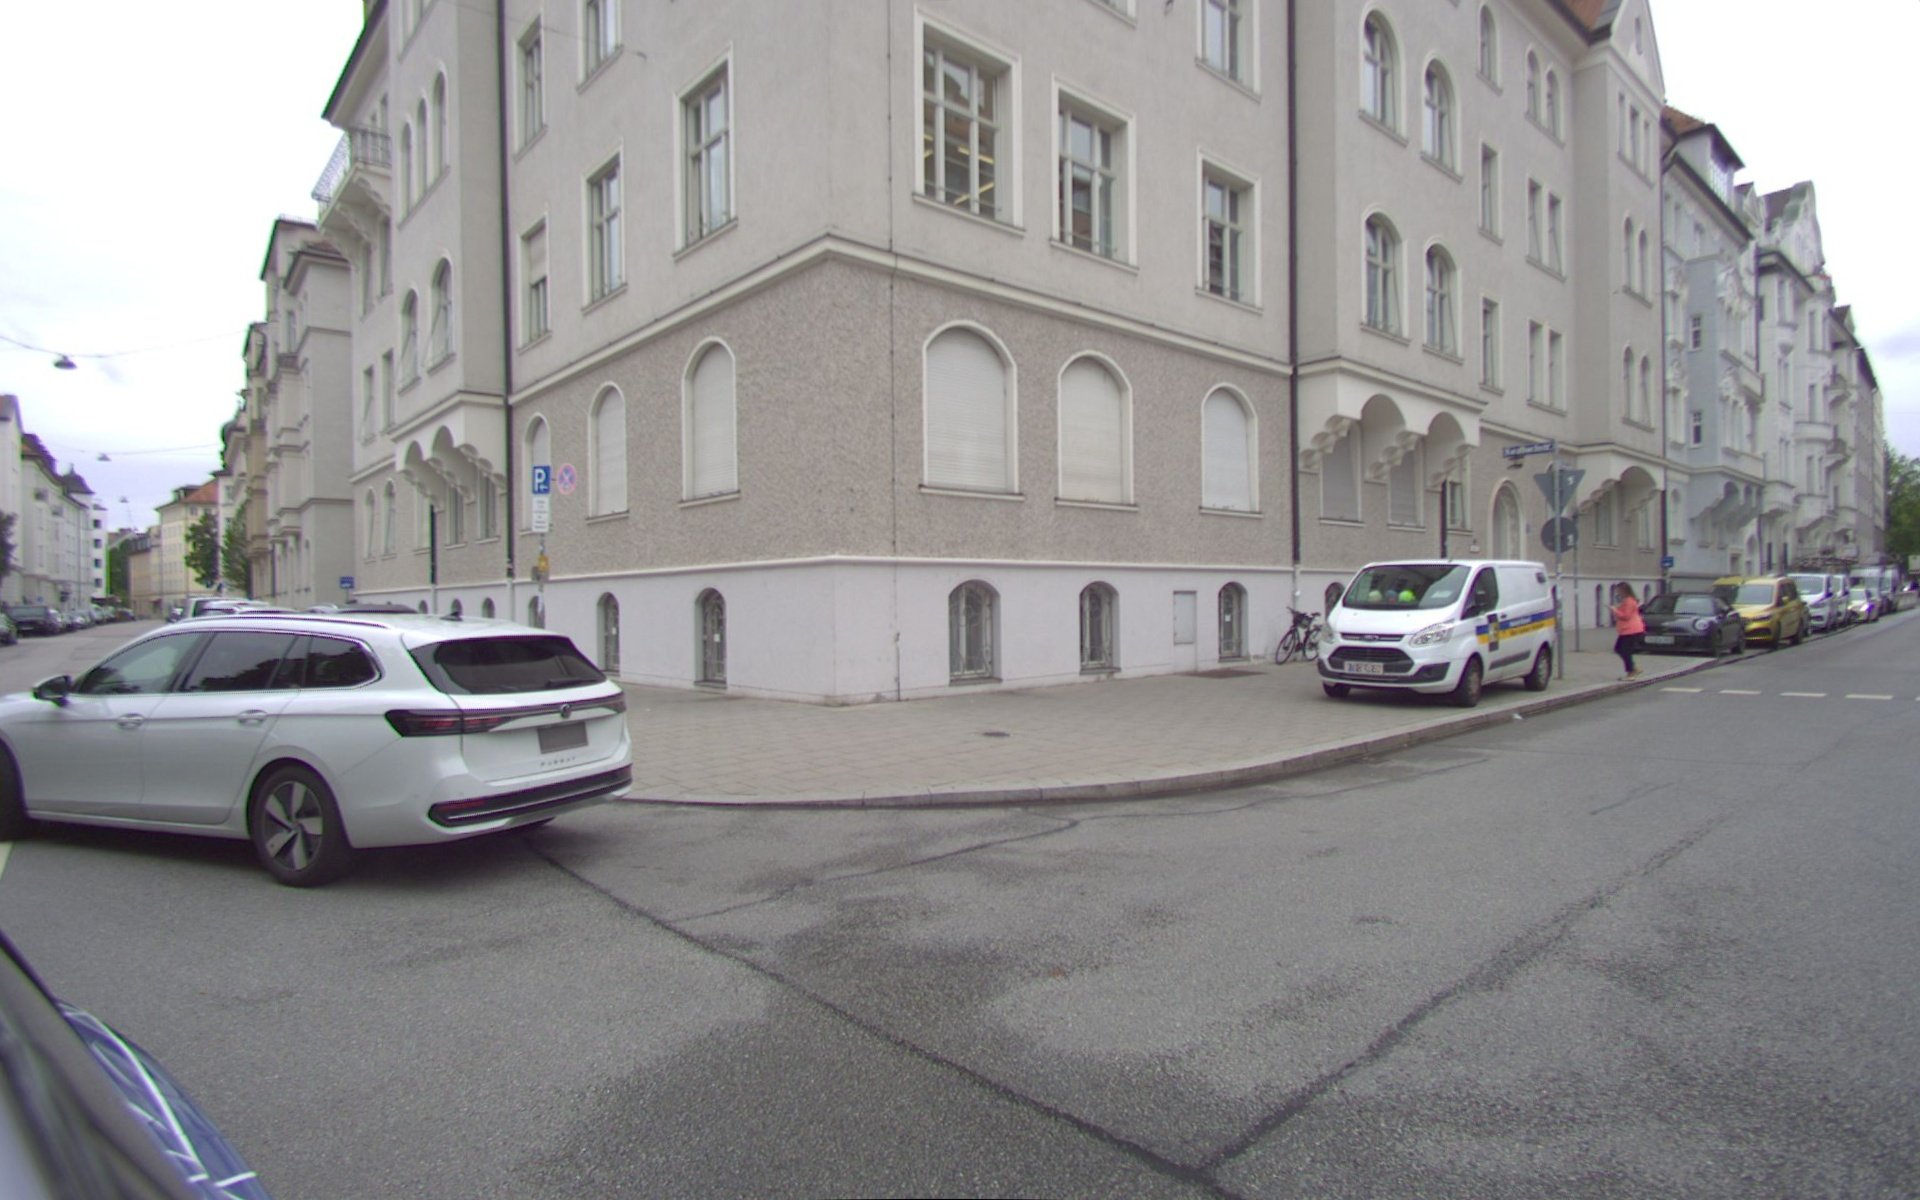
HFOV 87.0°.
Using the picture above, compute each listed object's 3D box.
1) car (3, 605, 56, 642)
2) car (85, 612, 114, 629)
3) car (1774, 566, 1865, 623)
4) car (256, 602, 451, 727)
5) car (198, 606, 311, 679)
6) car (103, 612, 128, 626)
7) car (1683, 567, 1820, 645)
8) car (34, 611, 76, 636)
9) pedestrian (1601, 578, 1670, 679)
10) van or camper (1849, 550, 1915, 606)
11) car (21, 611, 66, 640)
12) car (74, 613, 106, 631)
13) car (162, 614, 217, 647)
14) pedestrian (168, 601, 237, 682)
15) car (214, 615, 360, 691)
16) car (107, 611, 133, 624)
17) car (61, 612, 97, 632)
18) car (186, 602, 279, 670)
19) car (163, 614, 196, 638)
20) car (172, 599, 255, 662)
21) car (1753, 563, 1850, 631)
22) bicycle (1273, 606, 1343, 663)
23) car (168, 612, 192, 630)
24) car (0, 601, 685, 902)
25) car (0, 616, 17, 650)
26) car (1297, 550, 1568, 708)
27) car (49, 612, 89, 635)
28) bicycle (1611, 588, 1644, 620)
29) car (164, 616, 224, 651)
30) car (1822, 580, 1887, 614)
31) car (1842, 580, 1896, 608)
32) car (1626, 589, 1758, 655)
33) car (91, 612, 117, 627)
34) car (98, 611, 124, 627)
[{"bbox_3d":[-54.734,1.366,59.581,1.969,1.975,4.440,-5,2,-40],"label":"car"},{"bbox_3d":[-93.144,2.208,109.603,1.968,1.606,4.308,-5,2,-37],"label":"car"},{"bbox_3d":[32.553,-0.214,38.277,4.750,2.009,2.126,-1,0,-44],"label":"car"},{"bbox_3d":[-9.272,0.860,15.305,1.725,1.614,4.502,1,-1,-42],"label":"car"},{"bbox_3d":[-17.177,0.968,24.546,1.725,1.614,4.502,1,-1,-42],"label":"car"},{"bbox_3d":[-105.092,2.335,125.921,1.968,1.606,4.438,-5,2,-35],"label":"car"},{"bbox_3d":[20.547,0.126,26.227,4.071,1.852,2.030,-1,0,-40],"label":"car"},{"bbox_3d":[-63.992,1.670,71.600,1.969,1.606,4.306,-5,2,-40],"label":"car"},{"bbox_3d":[11.324,0.461,16.992,0.851,1.648,0.727,-1,0,26],"label":"pedestrian"},{"bbox_3d":[50.386,-1.218,55.250,6.338,2.935,2.003,-2,1,-41],"label":"van or camper"},{"bbox_3d":[-61.118,1.698,67.535,1.969,1.664,4.455,-5,2,-40],"label":"car"},{"bbox_3d":[-86.743,2.166,100.958,1.968,1.606,4.308,-5,2,-37],"label":"car"},{"bbox_3d":[-36.675,1.430,48.127,1.833,1.474,4.386,1,-1,-40],"label":"car"},{"bbox_3d":[-17.173,0.919,22.967,0.862,1.769,0.966,-1,0,-9],"label":"pedestrian"},{"bbox_3d":[-14.039,1.028,21.057,3.662,1.425,1.674,-1,-1,42],"label":"car"},{"bbox_3d":[-107.836,2.234,129.981,1.967,1.606,4.310,-5,2,-33],"label":"car"},{"bbox_3d":[-78.172,1.965,89.876,1.968,1.606,4.308,-5,2,-37],"label":"car"},{"bbox_3d":[-20.909,0.972,29.004,1.725,1.802,5.044,1,-1,-41],"label":"car"},{"bbox_3d":[-49.704,1.631,64.468,1.601,1.440,3.950,1,-1,-37],"label":"car"},{"bbox_3d":[-24.881,0.973,33.656,1.833,1.953,4.965,1,-1,-41],"label":"car"},{"bbox_3d":[28.310,-0.098,33.996,2.125,2.107,4.753,-1,0,44],"label":"car"},{"bbox_3d":[7.003,0.675,20.343,1.802,1.057,0.492,-1,0,-42],"label":"bicycle"},{"bbox_3d":[-68.013,1.778,88.242,1.602,1.542,3.696,1,-1,-39],"label":"car"},{"bbox_3d":[-4.433,0.791,6.679,4.853,1.459,1.879,-1,0,19],"label":"car"},{"bbox_3d":[-43.730,1.475,45.505,1.691,1.464,4.963,-1,0,-40],"label":"car"},{"bbox_3d":[6.922,0.314,14.541,4.838,1.895,1.927,-1,0,-44],"label":"car"},{"bbox_3d":[-71.491,1.895,81.265,1.968,1.606,4.308,-5,2,-37],"label":"car"},{"bbox_3d":[23.077,0.135,34.980,1.802,1.057,0.492,-1,0,-42],"label":"bicycle"},{"bbox_3d":[-33.475,1.423,44.197,1.833,1.423,4.386,1,-2,-40],"label":"car"},{"bbox_3d":[36.973,-0.117,41.801,3.485,1.356,1.699,-1,0,-43],"label":"car"},{"bbox_3d":[45.741,-0.315,50.904,3.485,1.356,1.699,-1,0,-42],"label":"car"},{"bbox_3d":[16.490,0.445,22.754,3.623,1.356,1.699,-1,0,-42],"label":"car"},{"bbox_3d":[-99.061,2.276,117.186,1.968,1.606,4.308,-5,2,-37],"label":"car"},{"bbox_3d":[-101.896,2.283,121.506,1.968,1.694,4.309,-5,2,-35],"label":"car"}]
